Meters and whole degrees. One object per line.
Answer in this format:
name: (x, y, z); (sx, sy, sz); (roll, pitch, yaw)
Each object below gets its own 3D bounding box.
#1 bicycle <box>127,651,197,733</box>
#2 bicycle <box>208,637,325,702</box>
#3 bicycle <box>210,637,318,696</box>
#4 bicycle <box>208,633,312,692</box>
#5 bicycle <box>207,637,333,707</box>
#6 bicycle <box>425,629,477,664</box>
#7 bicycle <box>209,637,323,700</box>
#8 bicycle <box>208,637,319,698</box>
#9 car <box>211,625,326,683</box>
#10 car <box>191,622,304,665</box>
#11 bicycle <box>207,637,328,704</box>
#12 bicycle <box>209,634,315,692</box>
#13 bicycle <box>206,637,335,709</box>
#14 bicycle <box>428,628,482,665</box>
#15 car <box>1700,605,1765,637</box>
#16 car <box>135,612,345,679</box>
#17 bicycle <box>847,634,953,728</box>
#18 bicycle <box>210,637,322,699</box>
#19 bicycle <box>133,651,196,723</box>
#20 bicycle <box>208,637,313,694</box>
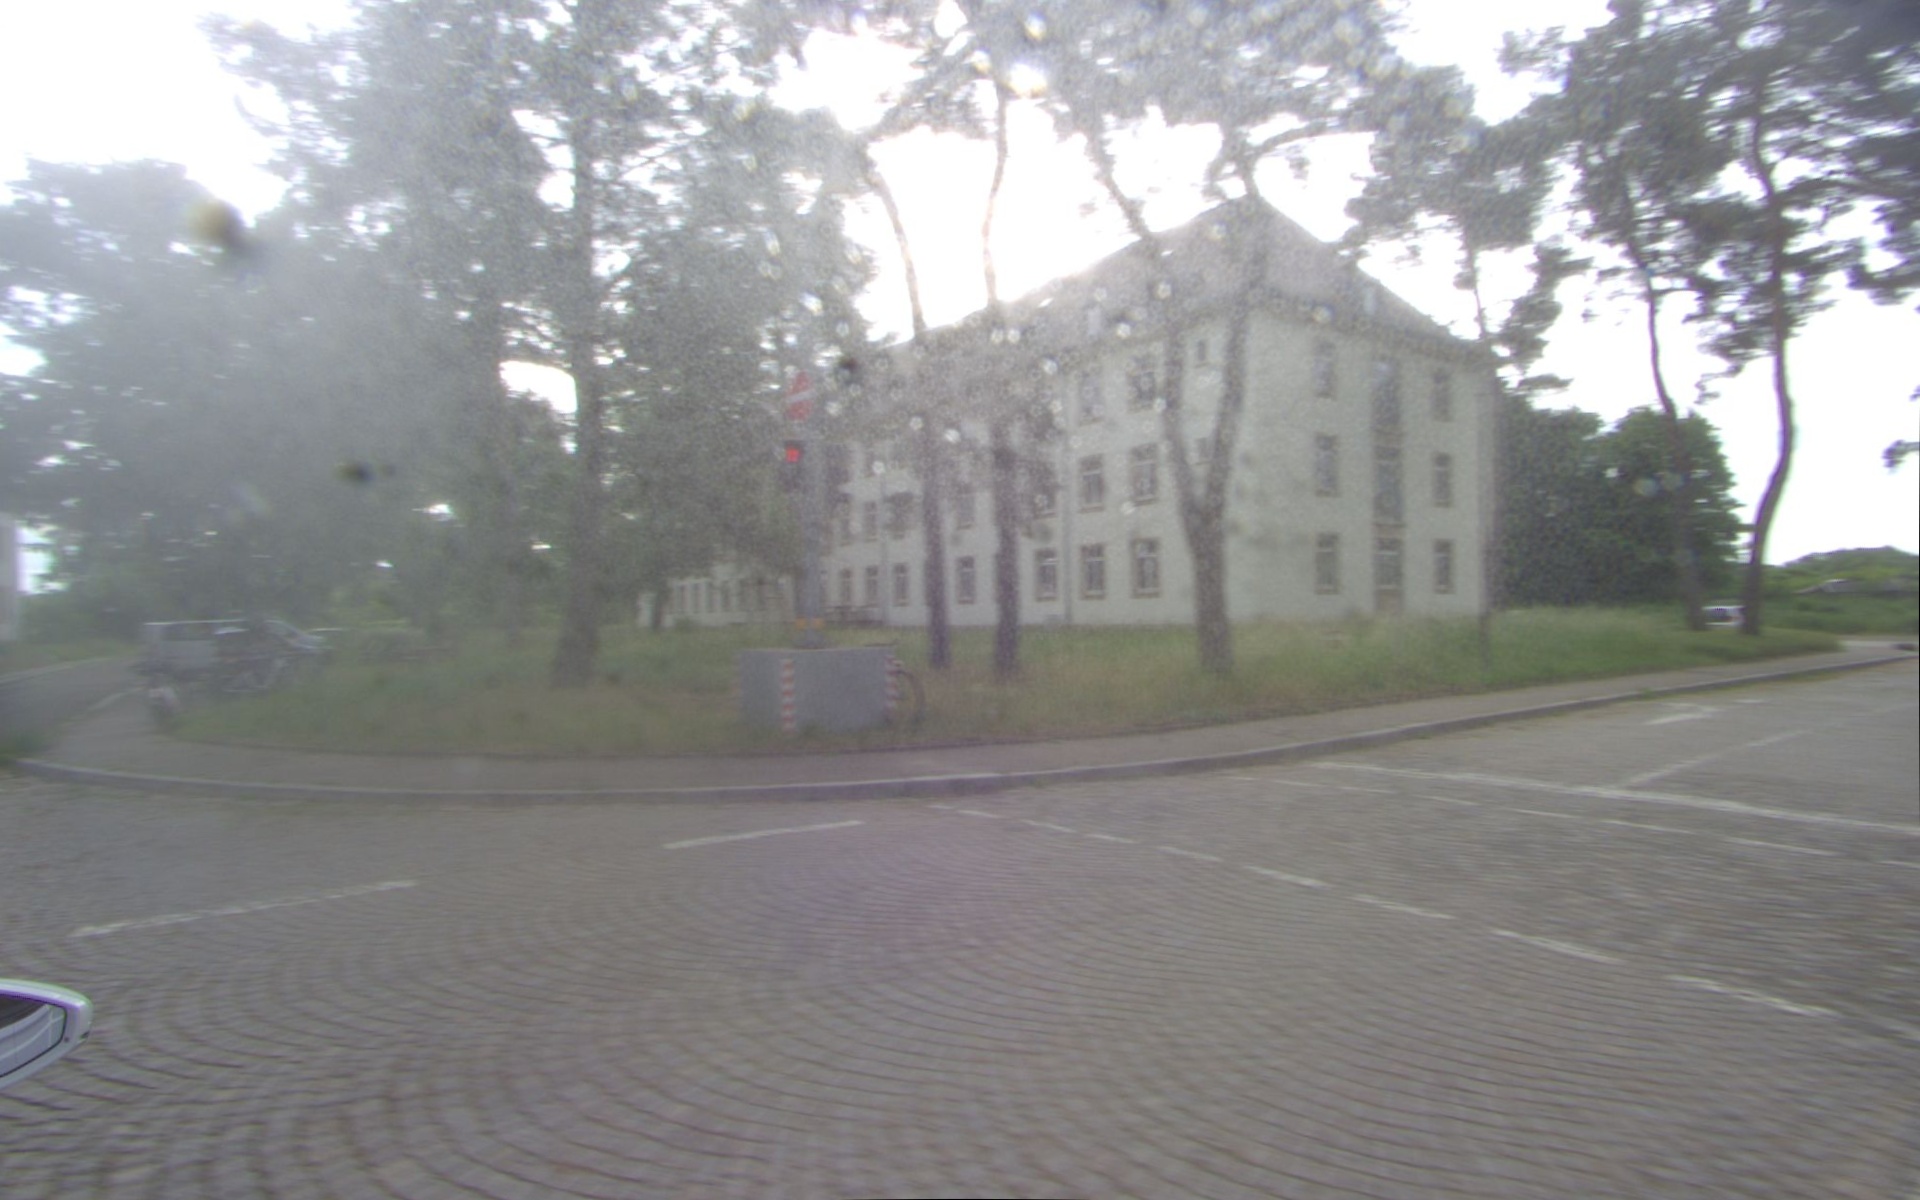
bicycle: (-12.077, 1.352, 15.204); (0.616, 1.128, 1.977); (0, -2, -33)
bicycle: (-14.313, 1.411, 20.689); (1.965, 1.264, 0.620); (1, -2, -38)
bicycle: (-15.615, 1.476, 22.488); (1.965, 1.264, 0.620); (1, -2, -38)
bicycle: (-16.621, 1.460, 23.803); (1.964, 1.264, 0.620); (-2, 0, -38)
bicycle: (-13.258, 1.359, 19.264); (1.965, 1.264, 0.620); (1, -2, -38)
bicycle: (-17.176, 1.548, 33.811); (1.534, 1.139, 0.398); (0, 0, -34)
bicycle: (-14.678, 1.430, 21.201); (1.965, 1.264, 0.620); (1, -2, -38)
bicycle: (-15.232, 1.456, 21.918); (1.965, 1.264, 0.620); (1, -2, -38)
car: (-21.167, 1.609, 30.696); (2.821, 1.579, 1.461); (-1, 1, -37)
car: (-31.581, 1.903, 44.442); (3.995, 1.740, 1.669); (-1, -1, -37)
bicycle: (-13.810, 1.386, 20.000); (1.965, 1.264, 0.620); (1, -2, -38)
bicycle: (-15.933, 1.411, 22.888); (1.965, 1.264, 0.620); (1, -2, -38)
bicycle: (-12.890, 1.341, 18.759); (1.965, 1.264, 0.620); (1, -2, -38)
bicycle: (-16.519, 1.514, 32.777); (1.534, 1.139, 0.398); (0, 0, -34)
car: (35.696, 0.978, 46.252); (3.154, 1.455, 1.479); (1, -2, -35)
car: (-23.683, 1.442, 33.136); (2.124, 1.941, 5.280); (-1, 0, 39)
bicycle: (-0.766, 0.956, 12.333); (0.574, 0.983, 1.667); (-3, 2, -31)
bicycle: (-14.972, 1.445, 21.632); (1.965, 1.264, 0.620); (1, -2, -38)
bicycle: (-13.272, 1.424, 16.734); (0.616, 1.096, 1.668); (0, -2, -31)
bicycle: (-16.235, 1.505, 23.273); (1.965, 1.264, 0.620); (1, -2, -38)
